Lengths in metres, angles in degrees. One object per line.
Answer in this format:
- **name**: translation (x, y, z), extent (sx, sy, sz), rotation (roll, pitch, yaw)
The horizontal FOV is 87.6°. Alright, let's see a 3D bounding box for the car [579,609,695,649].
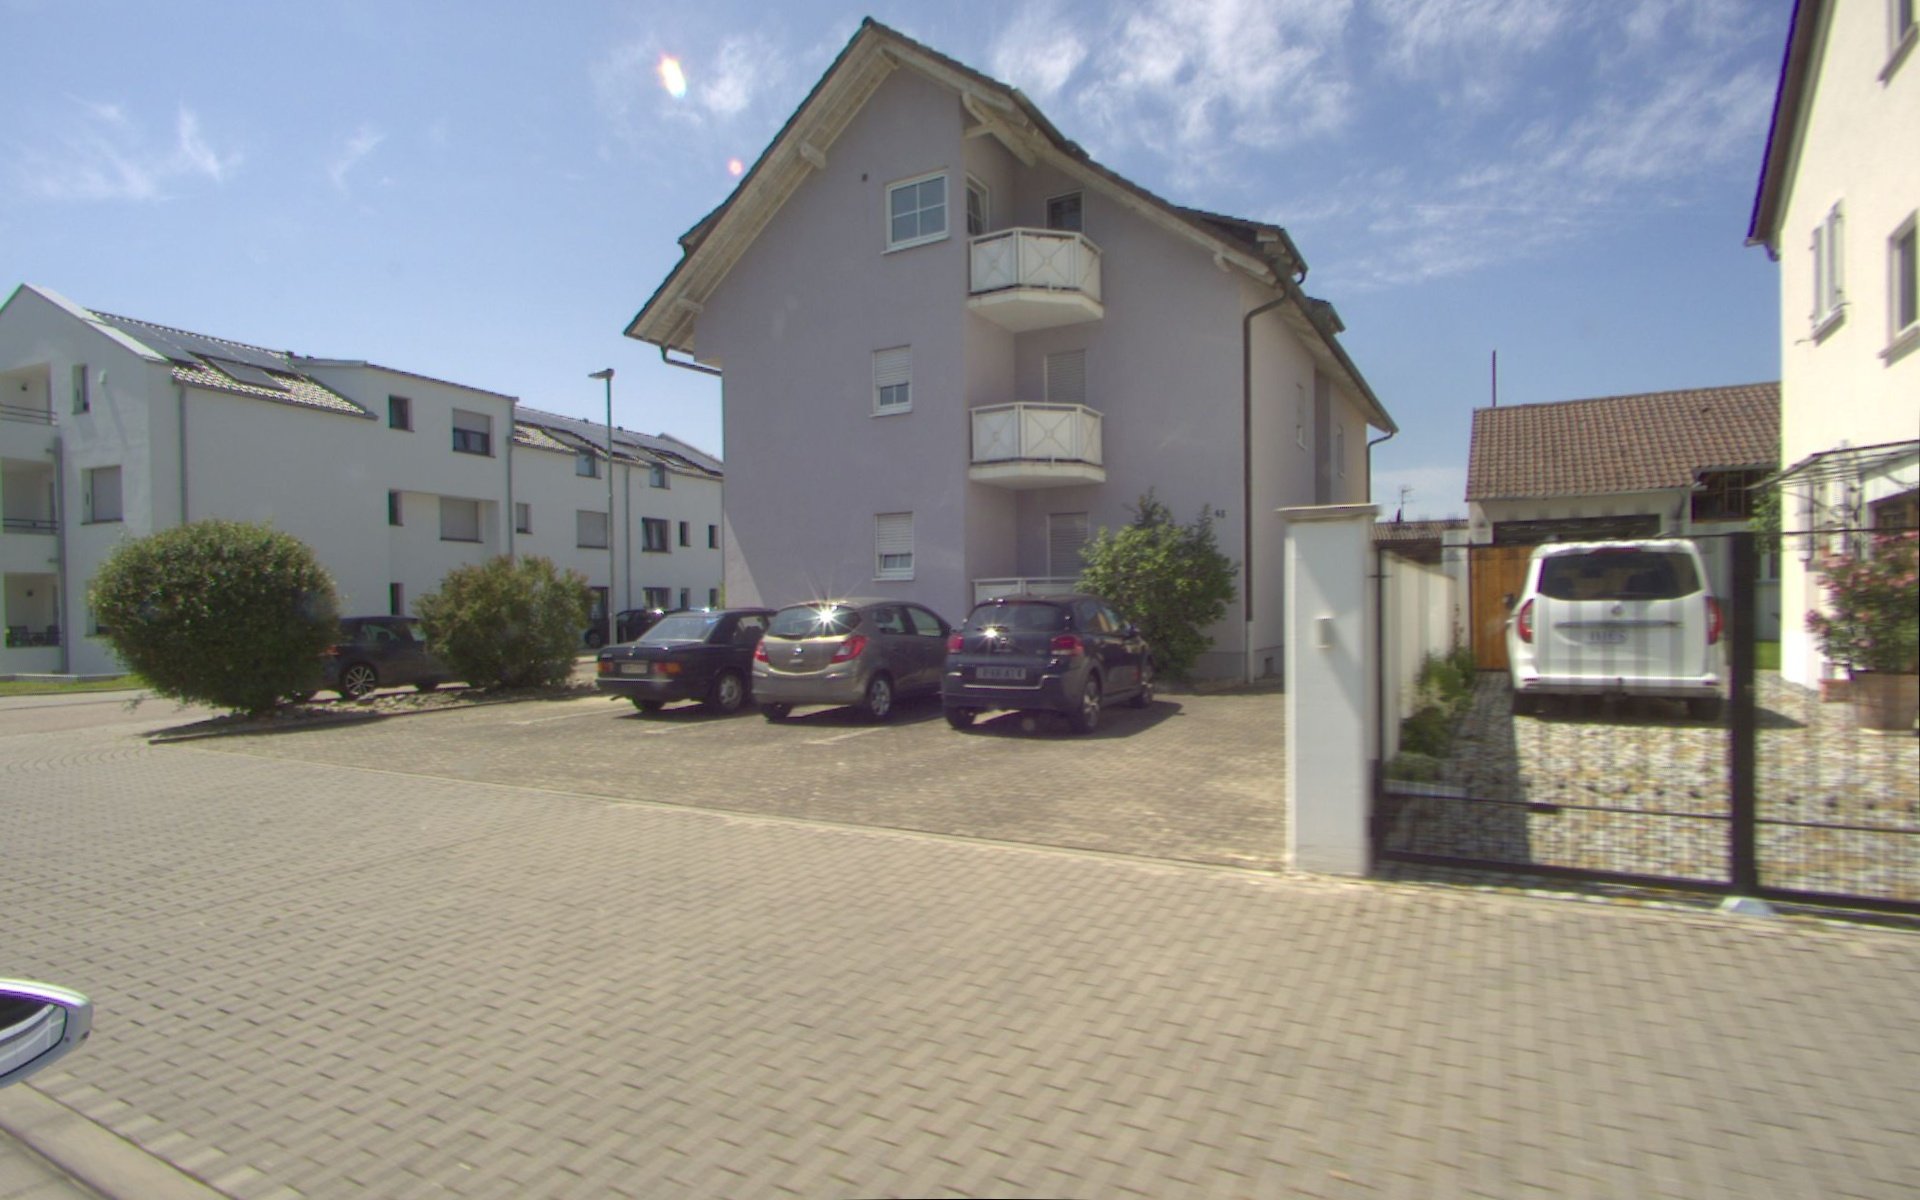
- **car**: translation (-12.063, 1.072, 37.369), extent (3.940, 1.431, 1.751), rotation (-1, 0, 23)

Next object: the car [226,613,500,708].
- **car**: translation (-10.708, 1.001, 18.285), extent (1.729, 1.487, 3.989), rotation (-1, 0, 27)

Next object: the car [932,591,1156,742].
- **car**: translation (1.149, 0.681, 12.002), extent (1.637, 1.516, 3.501), rotation (0, 0, 24)

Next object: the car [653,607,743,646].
- **car**: translation (-10.253, 1.028, 39.197), extent (3.162, 1.460, 1.459), rotation (-1, 0, 22)

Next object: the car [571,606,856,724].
- **car**: translation (-3.304, 0.803, 14.291), extent (1.638, 1.392, 4.200), rotation (-1, 0, 26)

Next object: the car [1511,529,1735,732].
- **car**: translation (7.070, 0.289, 11.005), extent (1.744, 1.836, 3.383), rotation (0, 0, 28)

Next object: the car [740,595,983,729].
- **car**: translation (-1.152, 0.709, 13.217), extent (1.638, 1.514, 3.443), rotation (0, 0, 26)
